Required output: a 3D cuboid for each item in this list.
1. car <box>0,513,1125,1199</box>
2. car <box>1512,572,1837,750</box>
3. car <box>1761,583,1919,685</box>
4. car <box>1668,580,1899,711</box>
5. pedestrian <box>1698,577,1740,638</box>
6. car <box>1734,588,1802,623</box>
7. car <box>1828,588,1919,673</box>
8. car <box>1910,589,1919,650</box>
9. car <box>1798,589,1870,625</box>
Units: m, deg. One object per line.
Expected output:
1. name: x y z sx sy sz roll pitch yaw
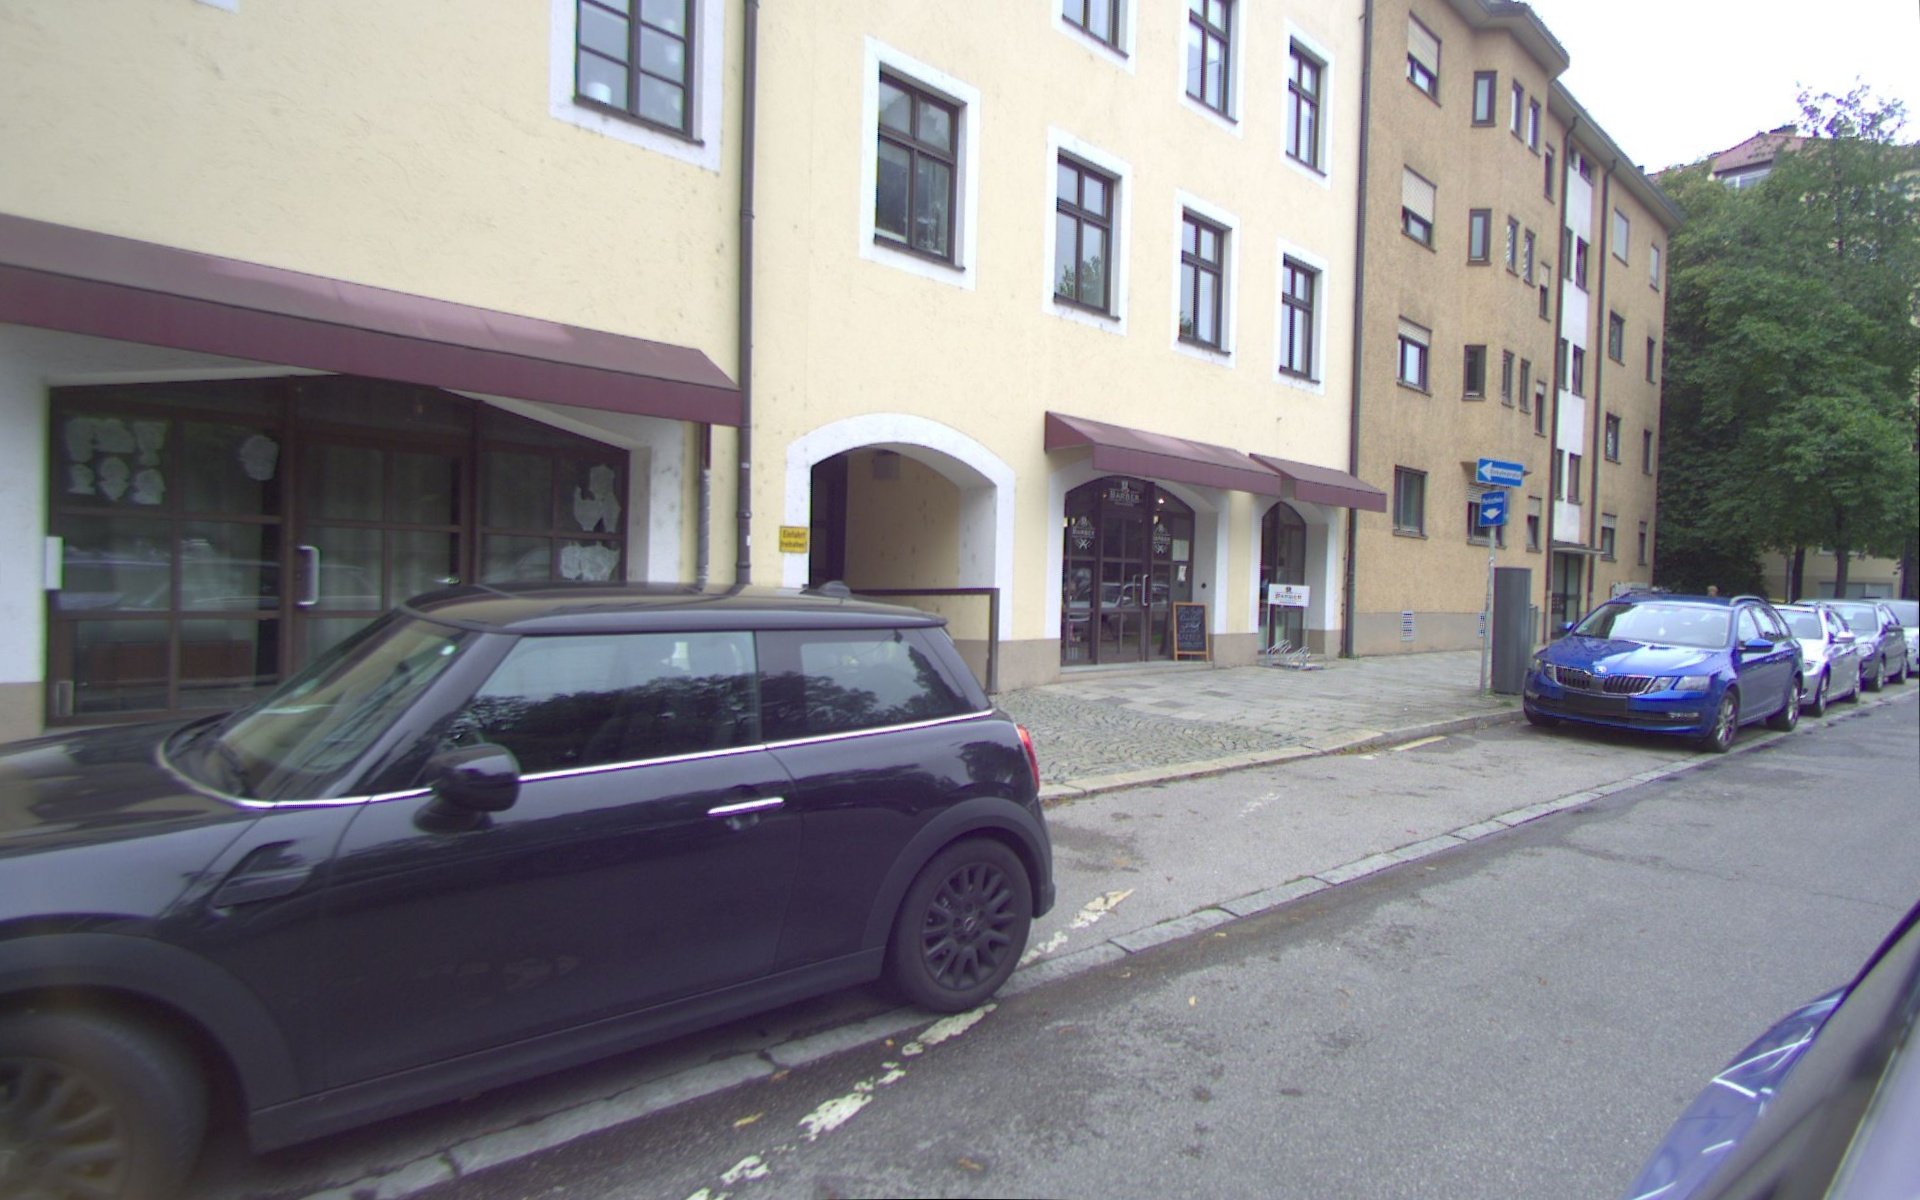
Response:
1. car: -1.430 0.543 3.358 3.752 1.514 1.762 0 3 -37
2. car: 7.936 0.530 11.075 4.407 1.514 1.761 0 3 -40
3. car: 15.442 0.527 17.553 3.719 1.514 1.632 0 3 -40
4. car: 11.724 0.545 14.313 4.355 1.514 1.695 0 3 -40
5. pedestrian: 20.783 0.185 27.699 0.963 1.644 0.672 -1 2 -39
6. car: 37.211 0.212 46.563 4.175 1.485 1.914 0 2 -44
7. car: 19.143 0.580 20.545 3.752 1.514 1.632 0 3 -40
8. car: 26.171 0.548 26.141 4.298 1.514 1.796 0 5 -40
9. car: 39.085 0.288 45.245 4.175 1.485 2.050 0 2 -44
